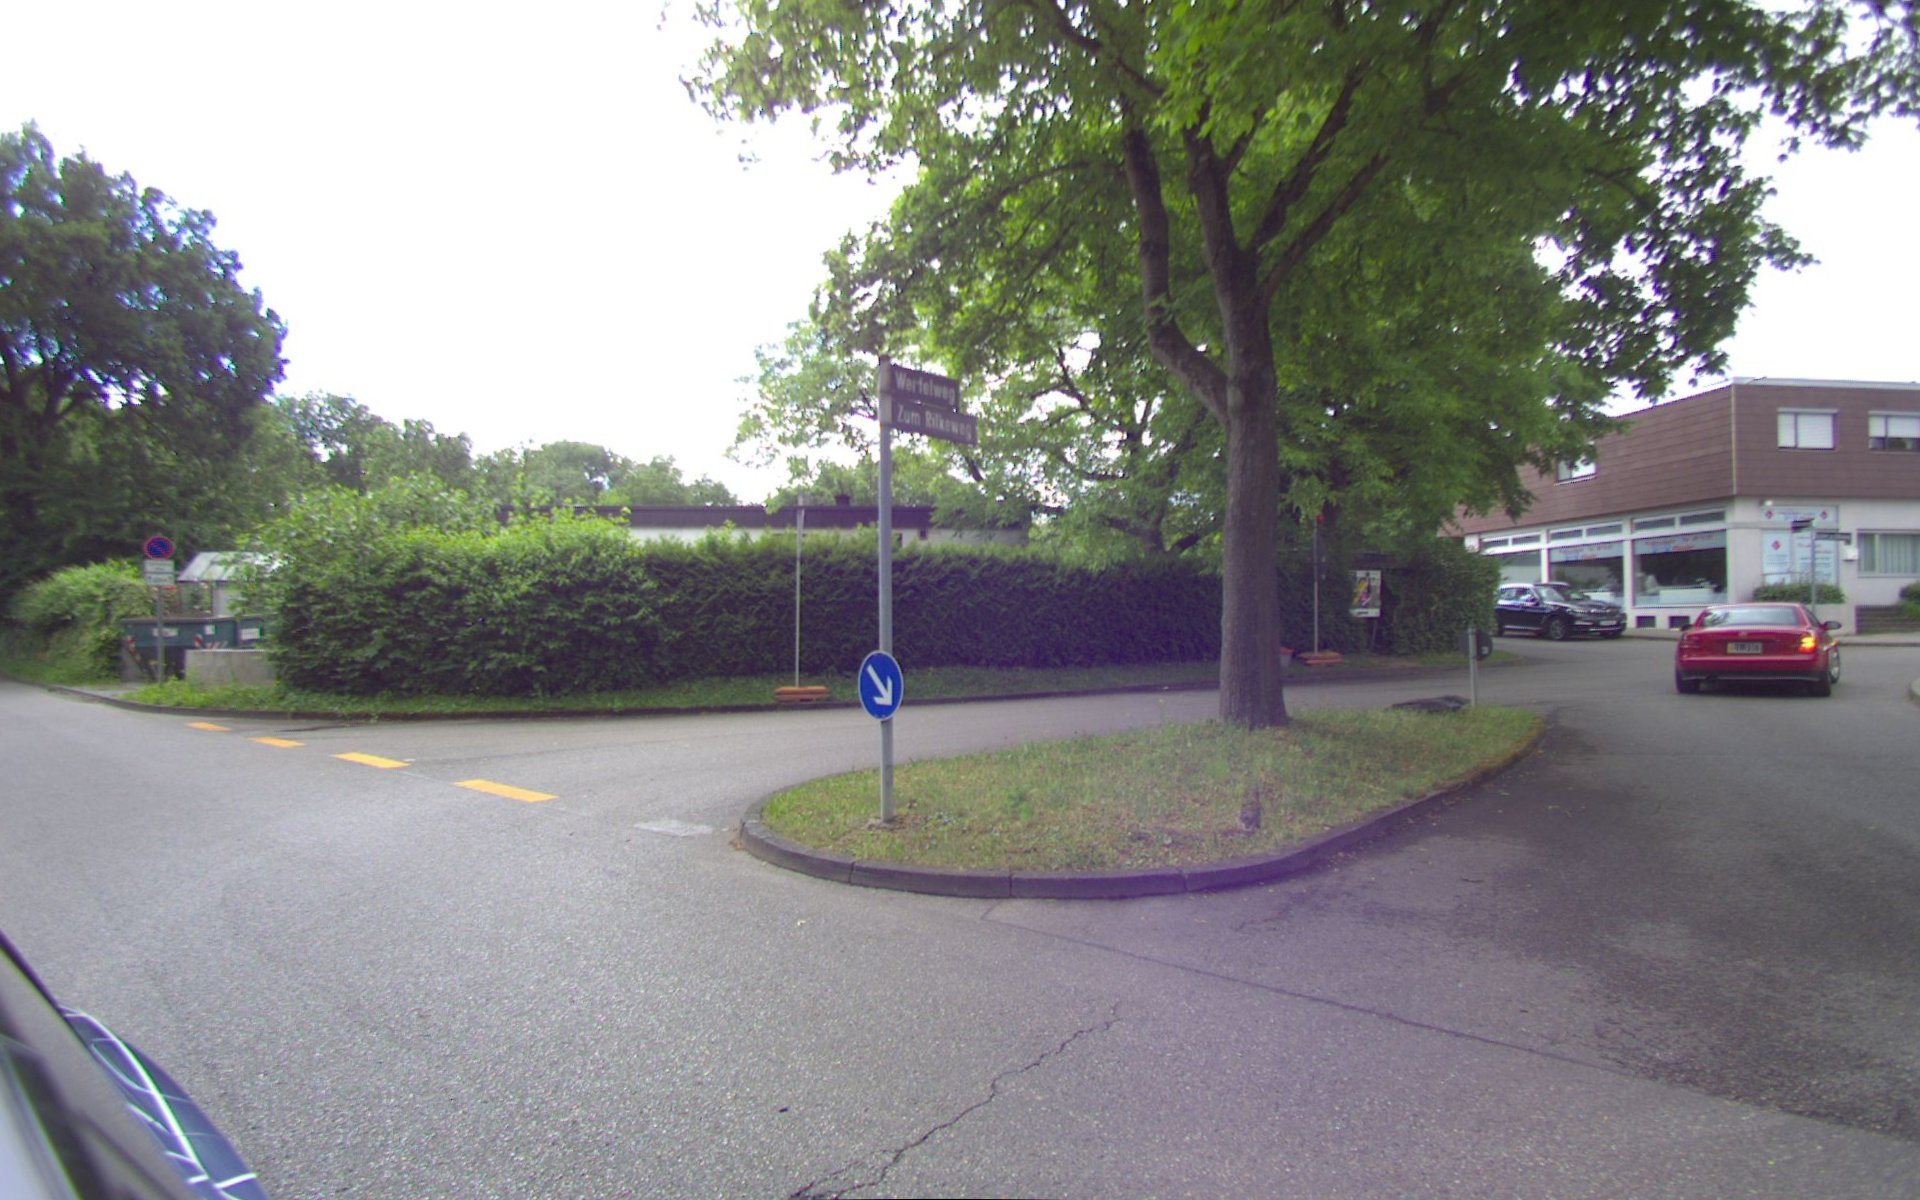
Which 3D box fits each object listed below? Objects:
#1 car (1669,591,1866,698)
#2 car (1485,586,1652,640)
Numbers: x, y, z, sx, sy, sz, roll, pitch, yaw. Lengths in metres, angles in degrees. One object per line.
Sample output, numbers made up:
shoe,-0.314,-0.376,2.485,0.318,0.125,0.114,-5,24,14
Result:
car,11.940,0.574,14.866,4.005,1.346,1.757,0,-1,-44
car,17.853,0.390,29.983,1.969,1.386,4.285,-3,-1,-6
